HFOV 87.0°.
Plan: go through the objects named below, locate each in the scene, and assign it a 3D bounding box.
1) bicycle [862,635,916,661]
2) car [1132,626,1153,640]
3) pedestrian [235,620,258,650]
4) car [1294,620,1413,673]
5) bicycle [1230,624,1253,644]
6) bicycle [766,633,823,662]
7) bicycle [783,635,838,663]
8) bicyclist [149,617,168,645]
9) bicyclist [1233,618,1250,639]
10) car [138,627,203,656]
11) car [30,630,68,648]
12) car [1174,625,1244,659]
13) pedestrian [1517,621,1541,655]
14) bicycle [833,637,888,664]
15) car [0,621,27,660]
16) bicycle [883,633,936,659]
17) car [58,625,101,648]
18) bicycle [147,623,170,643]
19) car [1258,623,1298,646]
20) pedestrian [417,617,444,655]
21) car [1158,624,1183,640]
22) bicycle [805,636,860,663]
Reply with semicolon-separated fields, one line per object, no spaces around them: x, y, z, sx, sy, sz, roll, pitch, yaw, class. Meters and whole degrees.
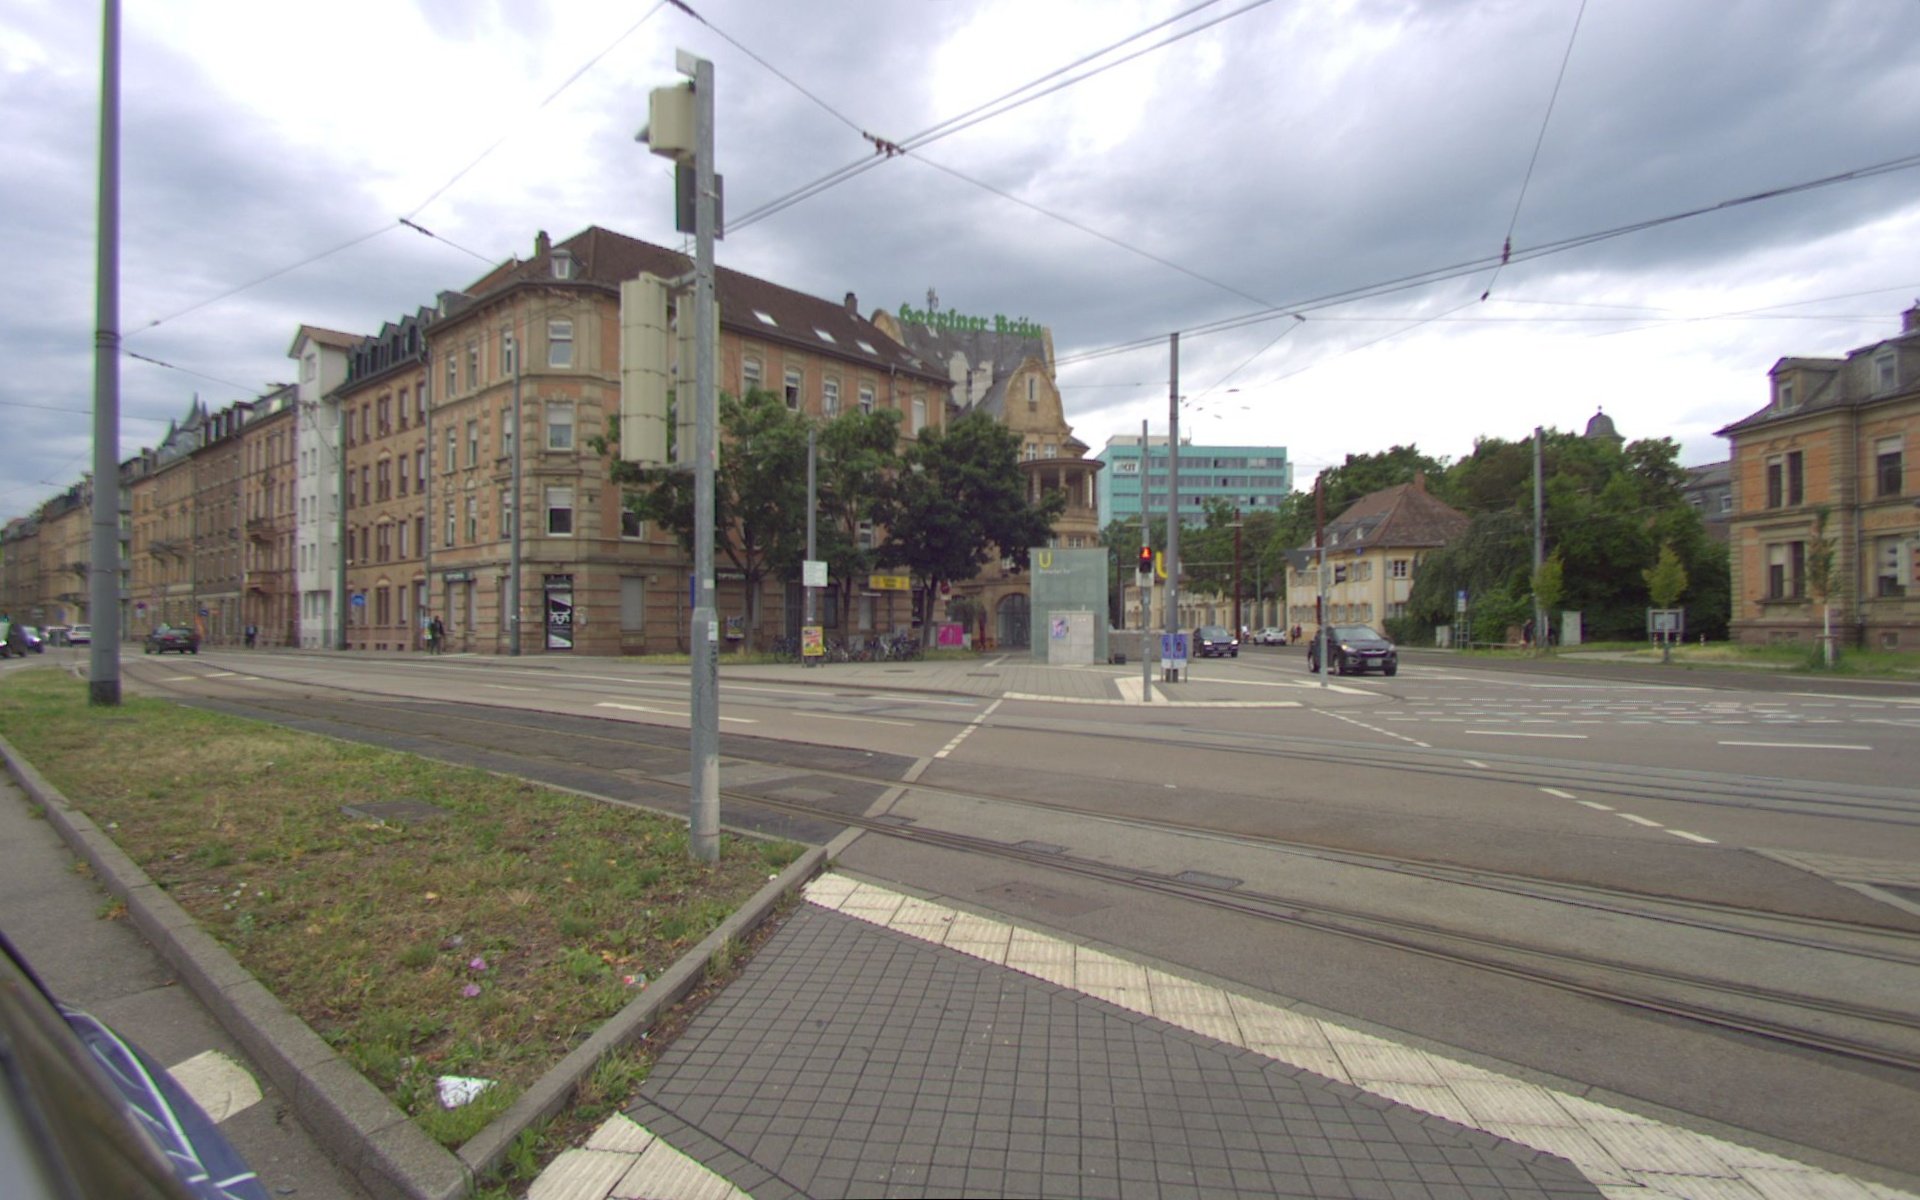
-2.916;1.936;41.327;2.396;1.038;0.744;-2;-2;42;bicycle
23.850;4.314;132.410;1.972;1.863;4.000;0;-1;-1;car
-44.482;2.162;63.076;0.712;1.846;0.918;0;-1;6;pedestrian
12.883;1.491;33.423;1.970;1.623;4.249;0;-2;-5;car
24.344;2.933;87.534;1.071;1.763;3.086;0;-2;-1;bicycle
-6.266;1.772;38.209;2.396;1.038;0.826;-2;-2;42;bicycle
-5.737;1.877;38.792;2.396;1.038;0.744;-2;-2;42;bicycle
-54.092;2.062;68.319;0.923;1.881;0.813;-1;-2;42;bicyclist
24.317;2.481;87.450;1.077;1.796;1.017;0;-2;-1;bicyclist
-42.272;2.191;54.183;4.461;1.481;1.864;-2;-2;40;car
-74.967;3.226;83.241;4.014;1.442;1.792;-2;-2;40;car
13.310;2.204;54.461;2.130;1.727;4.930;0;-1;-5;car
30.911;2.052;54.976;0.798;1.846;0.850;0;-2;-3;pedestrian
-3.982;1.987;40.299;2.396;1.038;0.744;-2;-2;42;bicycle
-45.129;1.886;47.065;2.339;1.768;5.132;2;-3;-45;car
-2.118;1.913;42.495;2.396;1.038;0.744;-2;-2;42;bicycle
-65.503;2.716;75.274;4.227;1.658;1.812;-2;-2;40;car
-54.103;2.235;68.310;2.410;1.302;0.788;-2;-2;42;bicycle
27.093;2.937;86.326;1.971;1.863;4.001;0;-1;-2;car
-23.695;1.600;45.257;0.798;1.688;0.802;-2;-2;38;pedestrian
24.446;3.741;117.529;1.972;1.863;4.000;0;-2;-1;car
-4.991;1.927;39.594;2.396;1.038;0.744;-2;-2;42;bicycle
